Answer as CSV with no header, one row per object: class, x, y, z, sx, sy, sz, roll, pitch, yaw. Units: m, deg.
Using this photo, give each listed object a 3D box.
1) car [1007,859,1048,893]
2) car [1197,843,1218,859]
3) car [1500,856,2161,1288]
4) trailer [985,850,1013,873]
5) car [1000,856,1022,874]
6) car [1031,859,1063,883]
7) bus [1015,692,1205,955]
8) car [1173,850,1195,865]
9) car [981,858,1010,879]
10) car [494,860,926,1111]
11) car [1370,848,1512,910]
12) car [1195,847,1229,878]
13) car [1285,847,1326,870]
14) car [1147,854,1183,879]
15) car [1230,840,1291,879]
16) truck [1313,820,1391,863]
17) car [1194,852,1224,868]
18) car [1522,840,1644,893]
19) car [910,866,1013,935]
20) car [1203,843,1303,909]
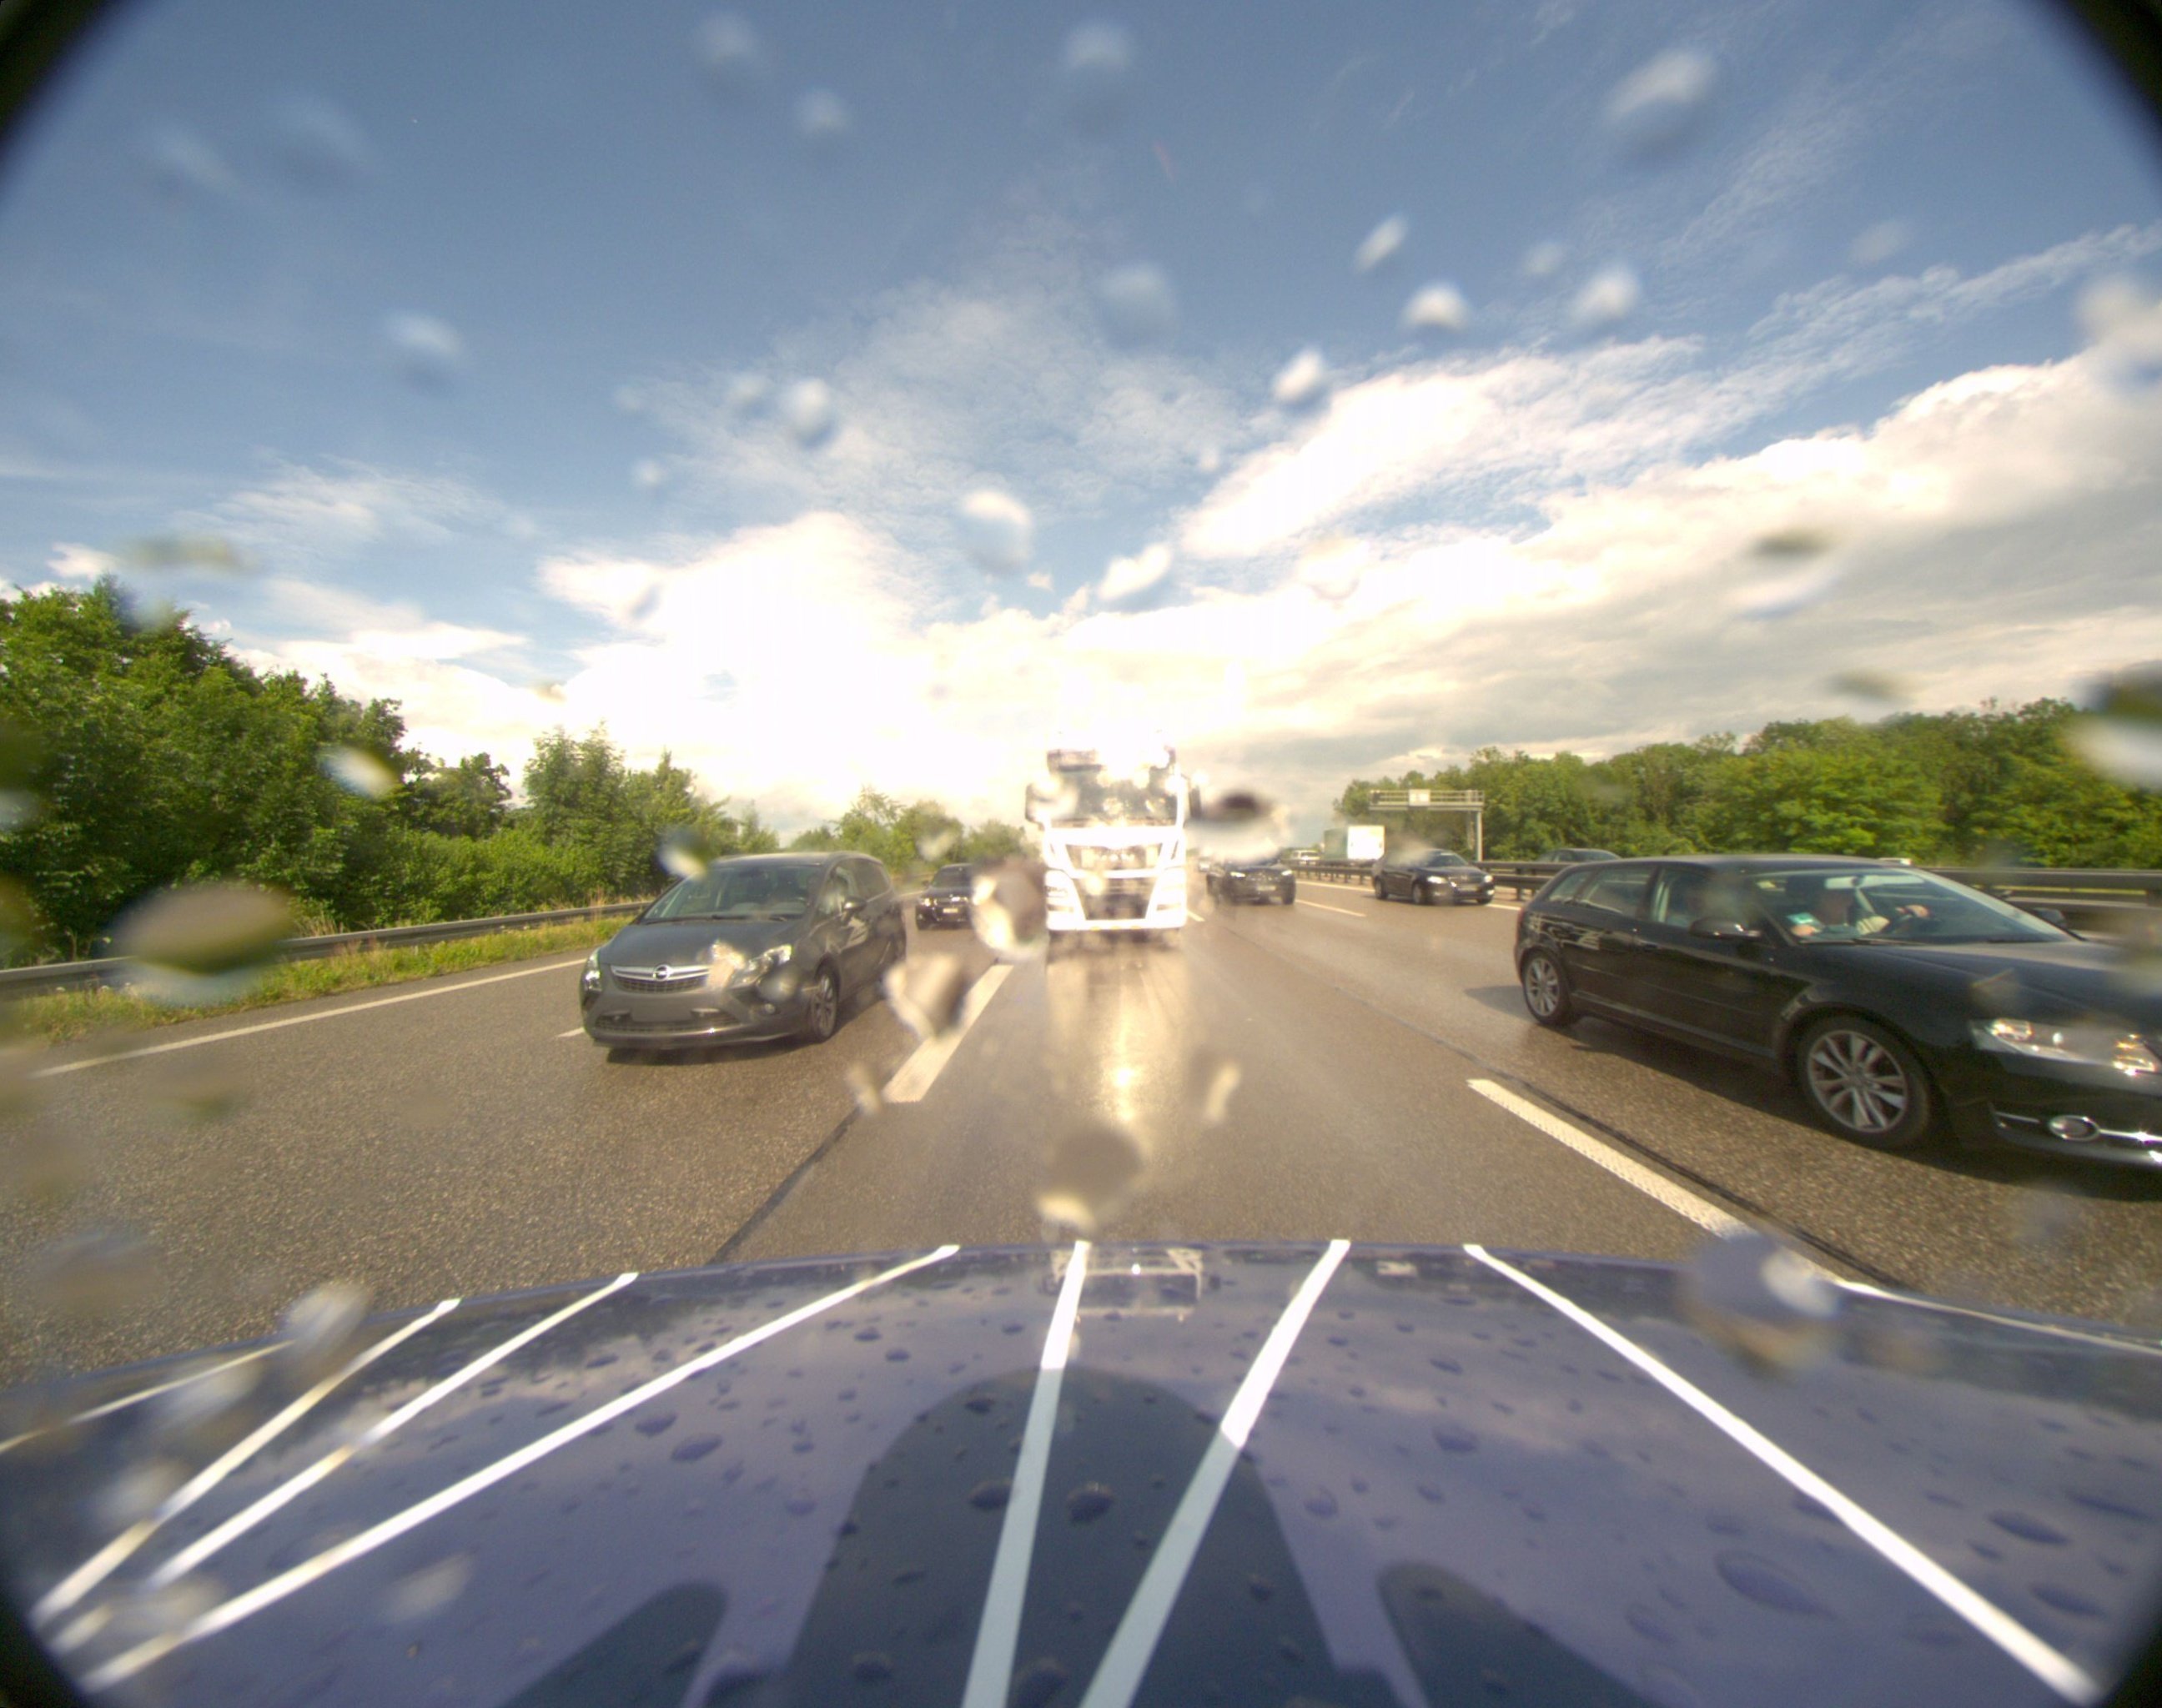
car,-2.444,0.970,35.091,1.744,1.357,3.999,-2,0,-3
car,18.931,-0.447,113.555,2.119,2.382,6.102,-2,0,1
car,4.546,0.767,4.656,1.754,1.425,4.054,-2,0,1
trailer,-6.631,0.587,61.641,1.810,1.736,3.967,-3,0,-1
car,-6.099,0.966,66.278,1.616,1.480,3.480,-2,0,-1
car,-2.170,1.058,48.797,1.858,1.434,3.999,-2,0,-1
bus,0.539,-0.494,17.110,2.904,4.104,9.845,-2,0,1
car,10.268,0.351,75.814,1.618,1.412,4.000,-2,0,1
car,-6.347,1.032,56.786,1.748,1.422,4.403,-2,0,-1
car,-3.041,0.928,7.597,1.858,1.622,4.736,-2,0,1
car,9.411,0.591,20.295,1.924,1.416,4.373,-2,0,4
car,7.220,0.454,42.179,1.409,1.588,2.830,-2,0,1
car,17.412,0.311,59.080,1.770,1.633,4.246,-2,0,-2
car,5.071,0.745,46.311,1.809,1.389,4.240,-1,0,1
car,9.558,0.285,40.814,1.998,1.906,5.235,-2,0,0
truck,20.905,-0.956,59.199,2.923,2.970,8.721,-2,1,0
car,10.163,0.486,60.457,1.857,1.182,3.583,-2,0,2
car,16.436,0.376,25.081,1.824,1.565,3.316,-2,0,1
car,-2.692,1.010,17.994,1.722,1.346,3.884,-2,0,1
car,4.874,0.569,22.224,1.881,1.669,4.626,-2,0,1
